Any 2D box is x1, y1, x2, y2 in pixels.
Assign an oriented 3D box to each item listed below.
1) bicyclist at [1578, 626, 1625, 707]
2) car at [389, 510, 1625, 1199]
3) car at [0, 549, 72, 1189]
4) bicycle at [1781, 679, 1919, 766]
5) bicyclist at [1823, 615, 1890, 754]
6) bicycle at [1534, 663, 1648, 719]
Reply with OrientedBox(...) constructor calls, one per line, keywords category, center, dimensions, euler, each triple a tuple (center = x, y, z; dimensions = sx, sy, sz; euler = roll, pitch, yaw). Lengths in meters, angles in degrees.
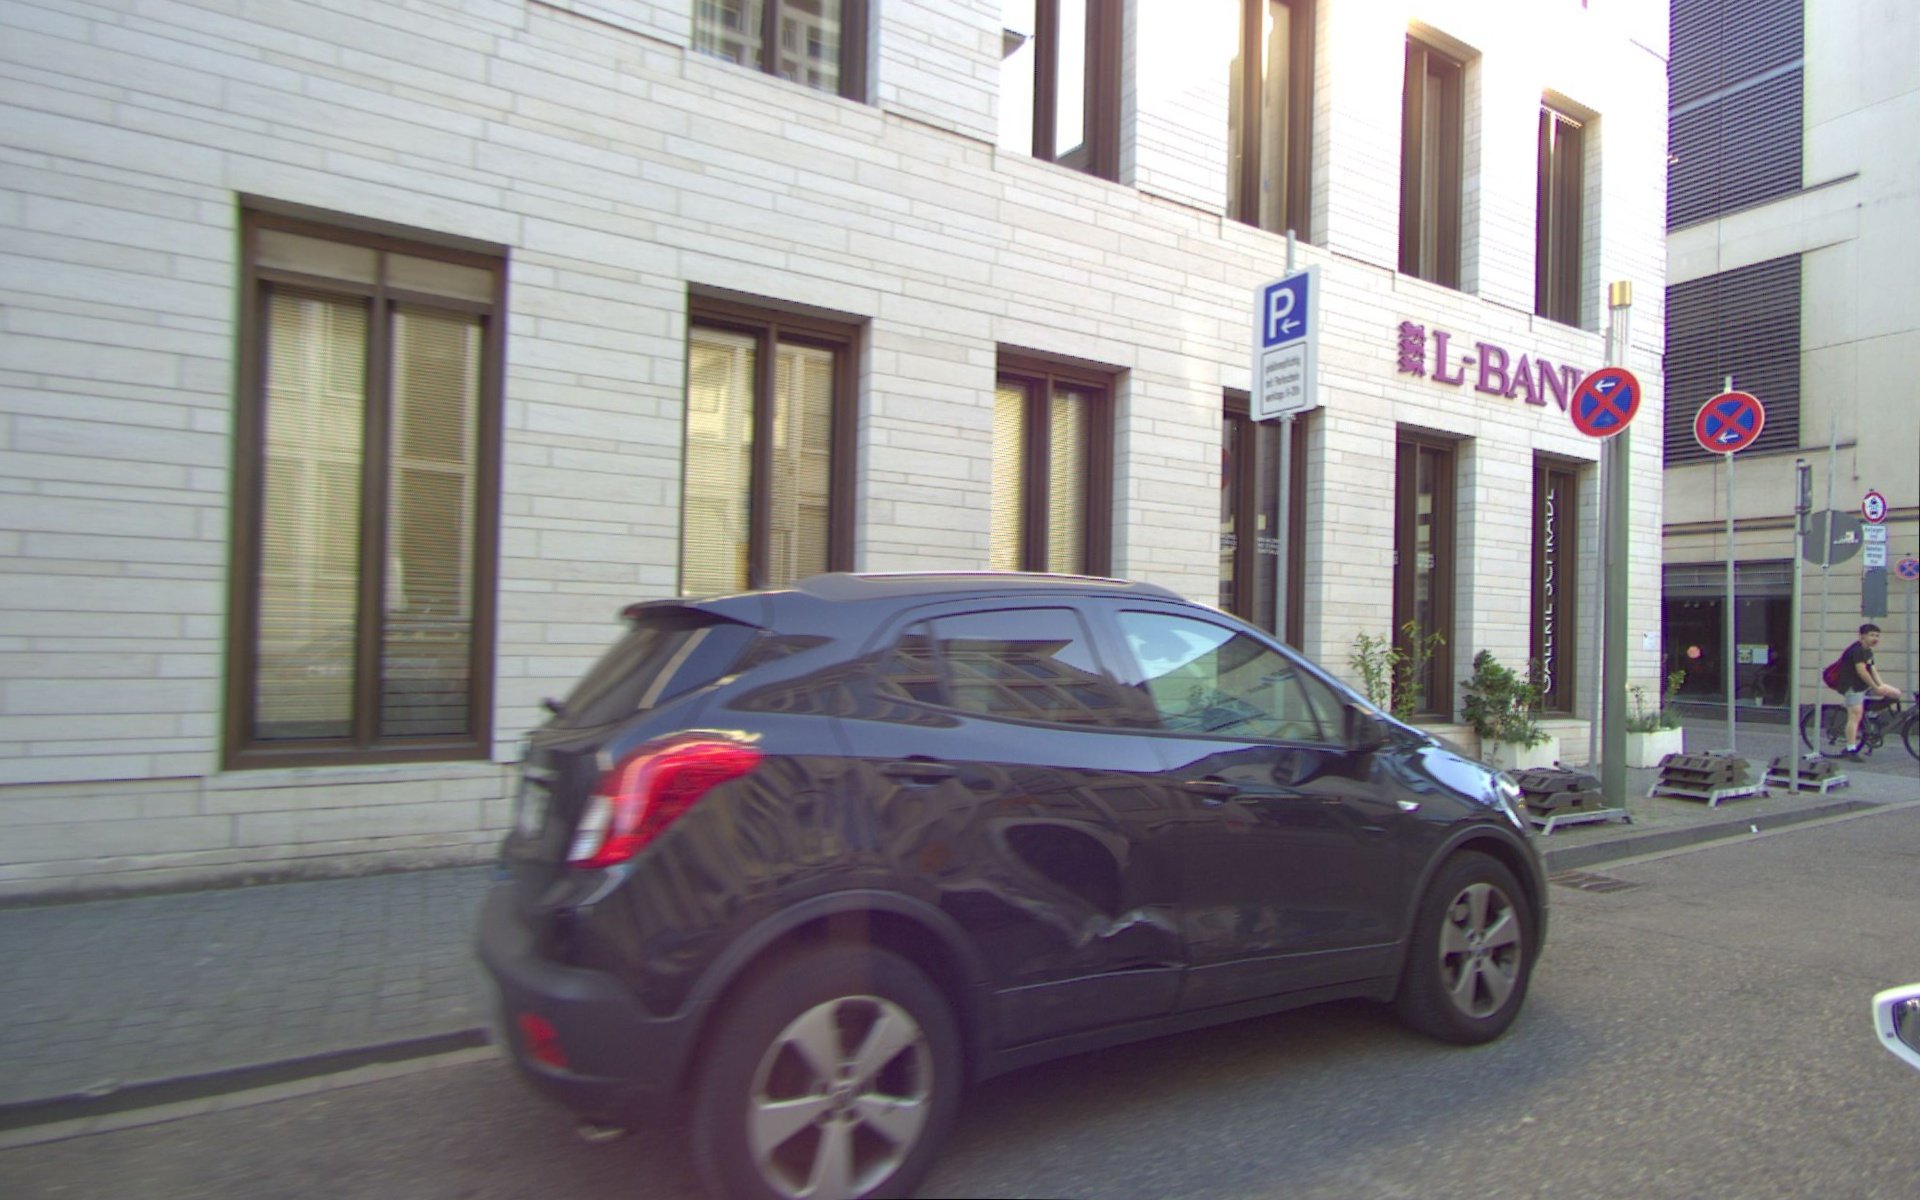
OrientedBox(category="bicyclist", center=(13.341, 1.373, 20.884), dimensions=(0.491, 1.647, 0.628), euler=(3, -1, -24))
OrientedBox(category="car", center=(0.332, 0.777, 3.761), dimensions=(4.211, 1.699, 1.815), euler=(2, -4, -29))
OrientedBox(category="car", center=(-3.985, 0.609, 1.150), dimensions=(4.105, 1.615, 1.732), euler=(2, -4, -30))
OrientedBox(category="bicycle", center=(11.797, 1.568, 12.949), dimensions=(0.507, 0.986, 1.801), euler=(3, -2, -37))
OrientedBox(category="bicyclist", center=(11.701, 1.083, 13.114), dimensions=(0.497, 1.754, 0.546), euler=(3, -1, -38))
OrientedBox(category="bicycle", center=(13.218, 1.882, 21.107), dimensions=(0.511, 1.008, 2.097), euler=(3, -2, -23))
